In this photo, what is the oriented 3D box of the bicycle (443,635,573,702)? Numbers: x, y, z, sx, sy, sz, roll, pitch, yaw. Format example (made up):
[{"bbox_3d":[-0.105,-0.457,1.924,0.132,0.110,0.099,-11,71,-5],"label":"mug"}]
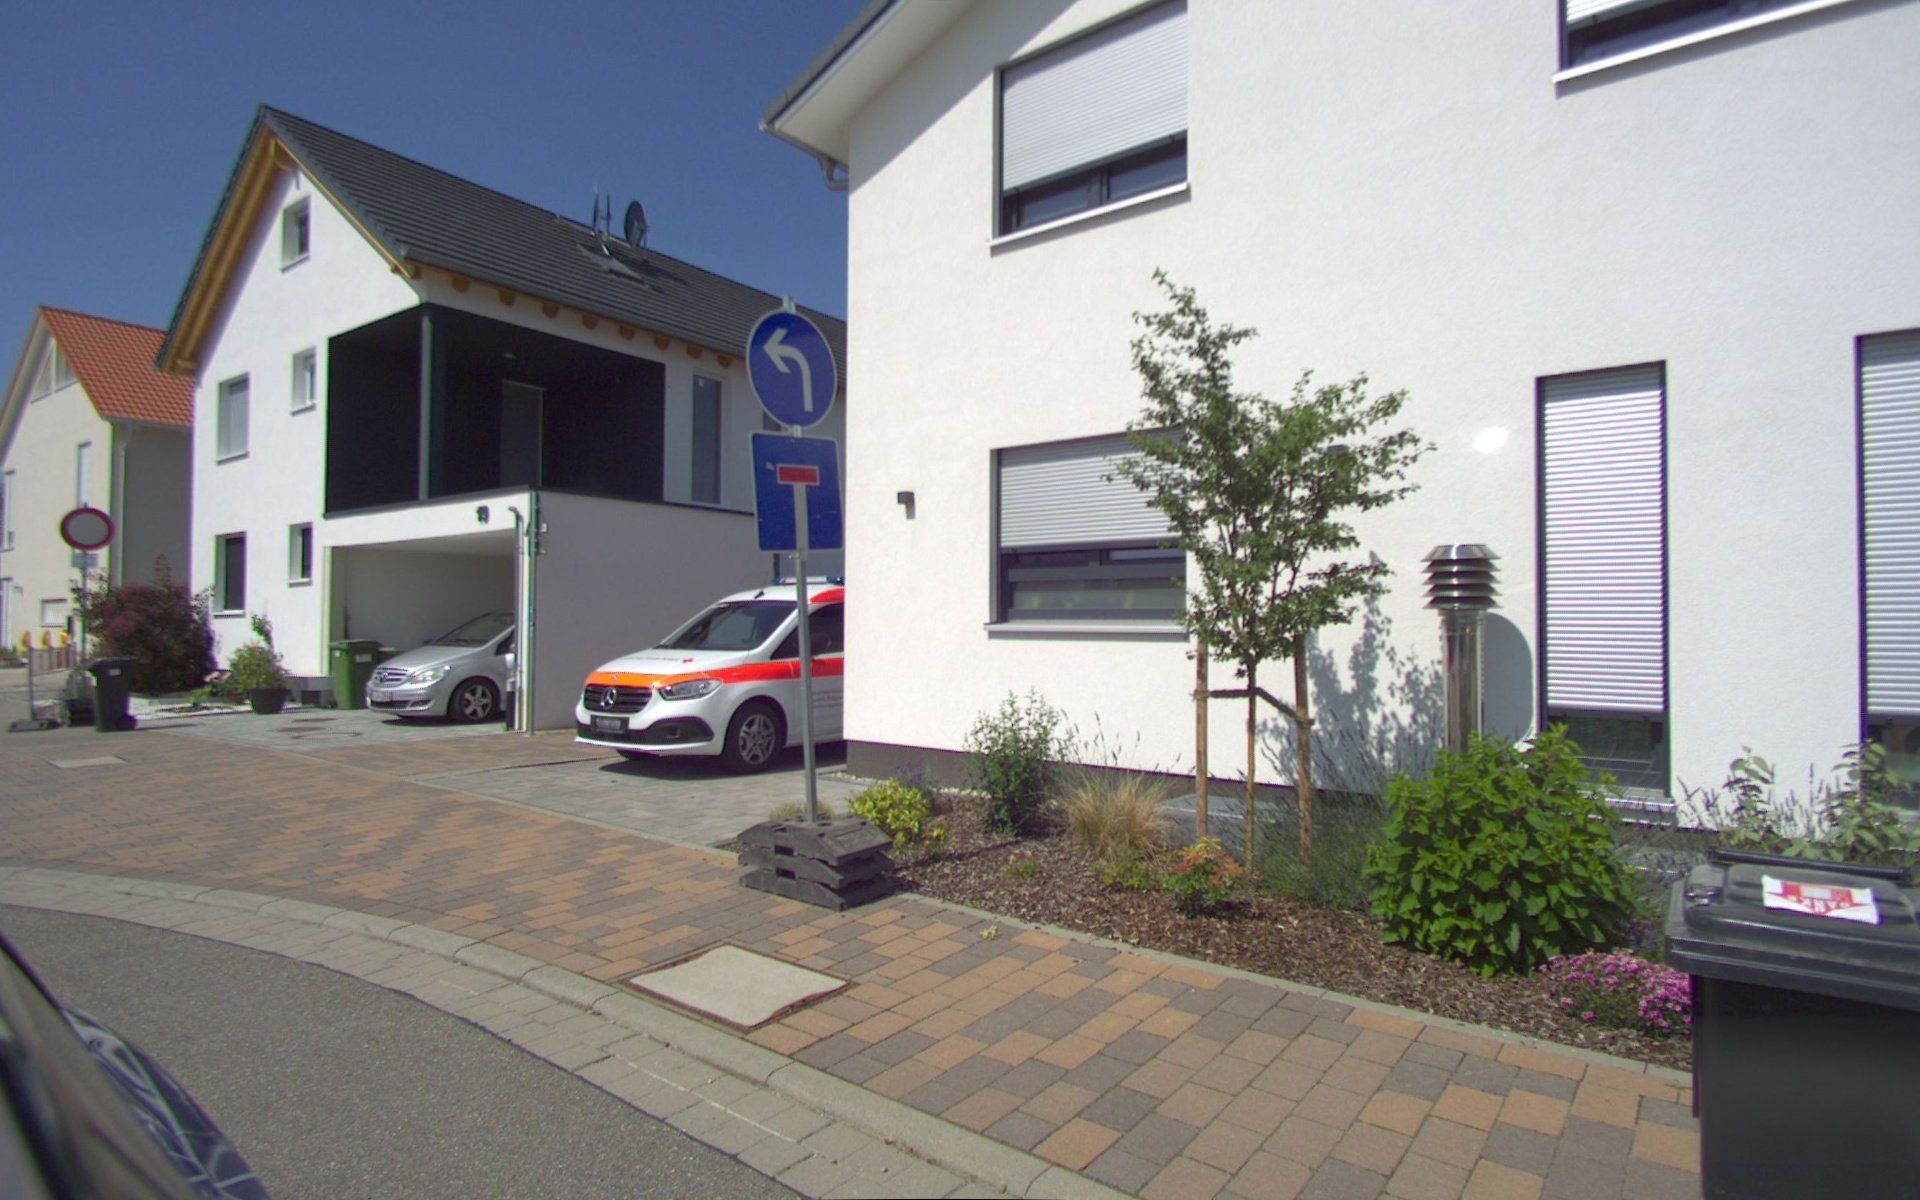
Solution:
[{"bbox_3d":[-8.284,1.221,18.652,0.776,1.135,2.111,0,-1,30],"label":"bicycle"}]

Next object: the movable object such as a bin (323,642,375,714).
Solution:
[{"bbox_3d":[-9.558,1.210,15.839,0.600,1.100,0.494,-3,-3,34],"label":"movable object such as a bin"}]

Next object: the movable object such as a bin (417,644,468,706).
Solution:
[{"bbox_3d":[-8.781,1.262,17.170,0.675,0.994,0.494,0,-1,34],"label":"movable object such as a bin"}]

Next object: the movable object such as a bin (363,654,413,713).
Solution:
[{"bbox_3d":[-9.242,1.340,16.360,0.560,0.912,0.494,0,-1,34],"label":"movable object such as a bin"}]

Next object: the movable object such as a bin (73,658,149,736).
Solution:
[{"bbox_3d":[-10.858,1.219,12.944,0.563,0.944,0.611,-2,-2,34],"label":"movable object such as a bin"}]

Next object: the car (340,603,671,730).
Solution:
[{"bbox_3d":[-6.411,0.910,14.747,1.740,1.574,4.118,-1,-3,33],"label":"car"}]

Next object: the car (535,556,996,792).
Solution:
[{"bbox_3d":[-1.720,0.680,10.582,1.934,1.889,4.694,-1,-3,36],"label":"car"}]

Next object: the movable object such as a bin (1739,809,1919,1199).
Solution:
[{"bbox_3d":[1.634,0.901,1.677,0.499,0.955,0.618,0,-1,34],"label":"movable object such as a bin"}]
